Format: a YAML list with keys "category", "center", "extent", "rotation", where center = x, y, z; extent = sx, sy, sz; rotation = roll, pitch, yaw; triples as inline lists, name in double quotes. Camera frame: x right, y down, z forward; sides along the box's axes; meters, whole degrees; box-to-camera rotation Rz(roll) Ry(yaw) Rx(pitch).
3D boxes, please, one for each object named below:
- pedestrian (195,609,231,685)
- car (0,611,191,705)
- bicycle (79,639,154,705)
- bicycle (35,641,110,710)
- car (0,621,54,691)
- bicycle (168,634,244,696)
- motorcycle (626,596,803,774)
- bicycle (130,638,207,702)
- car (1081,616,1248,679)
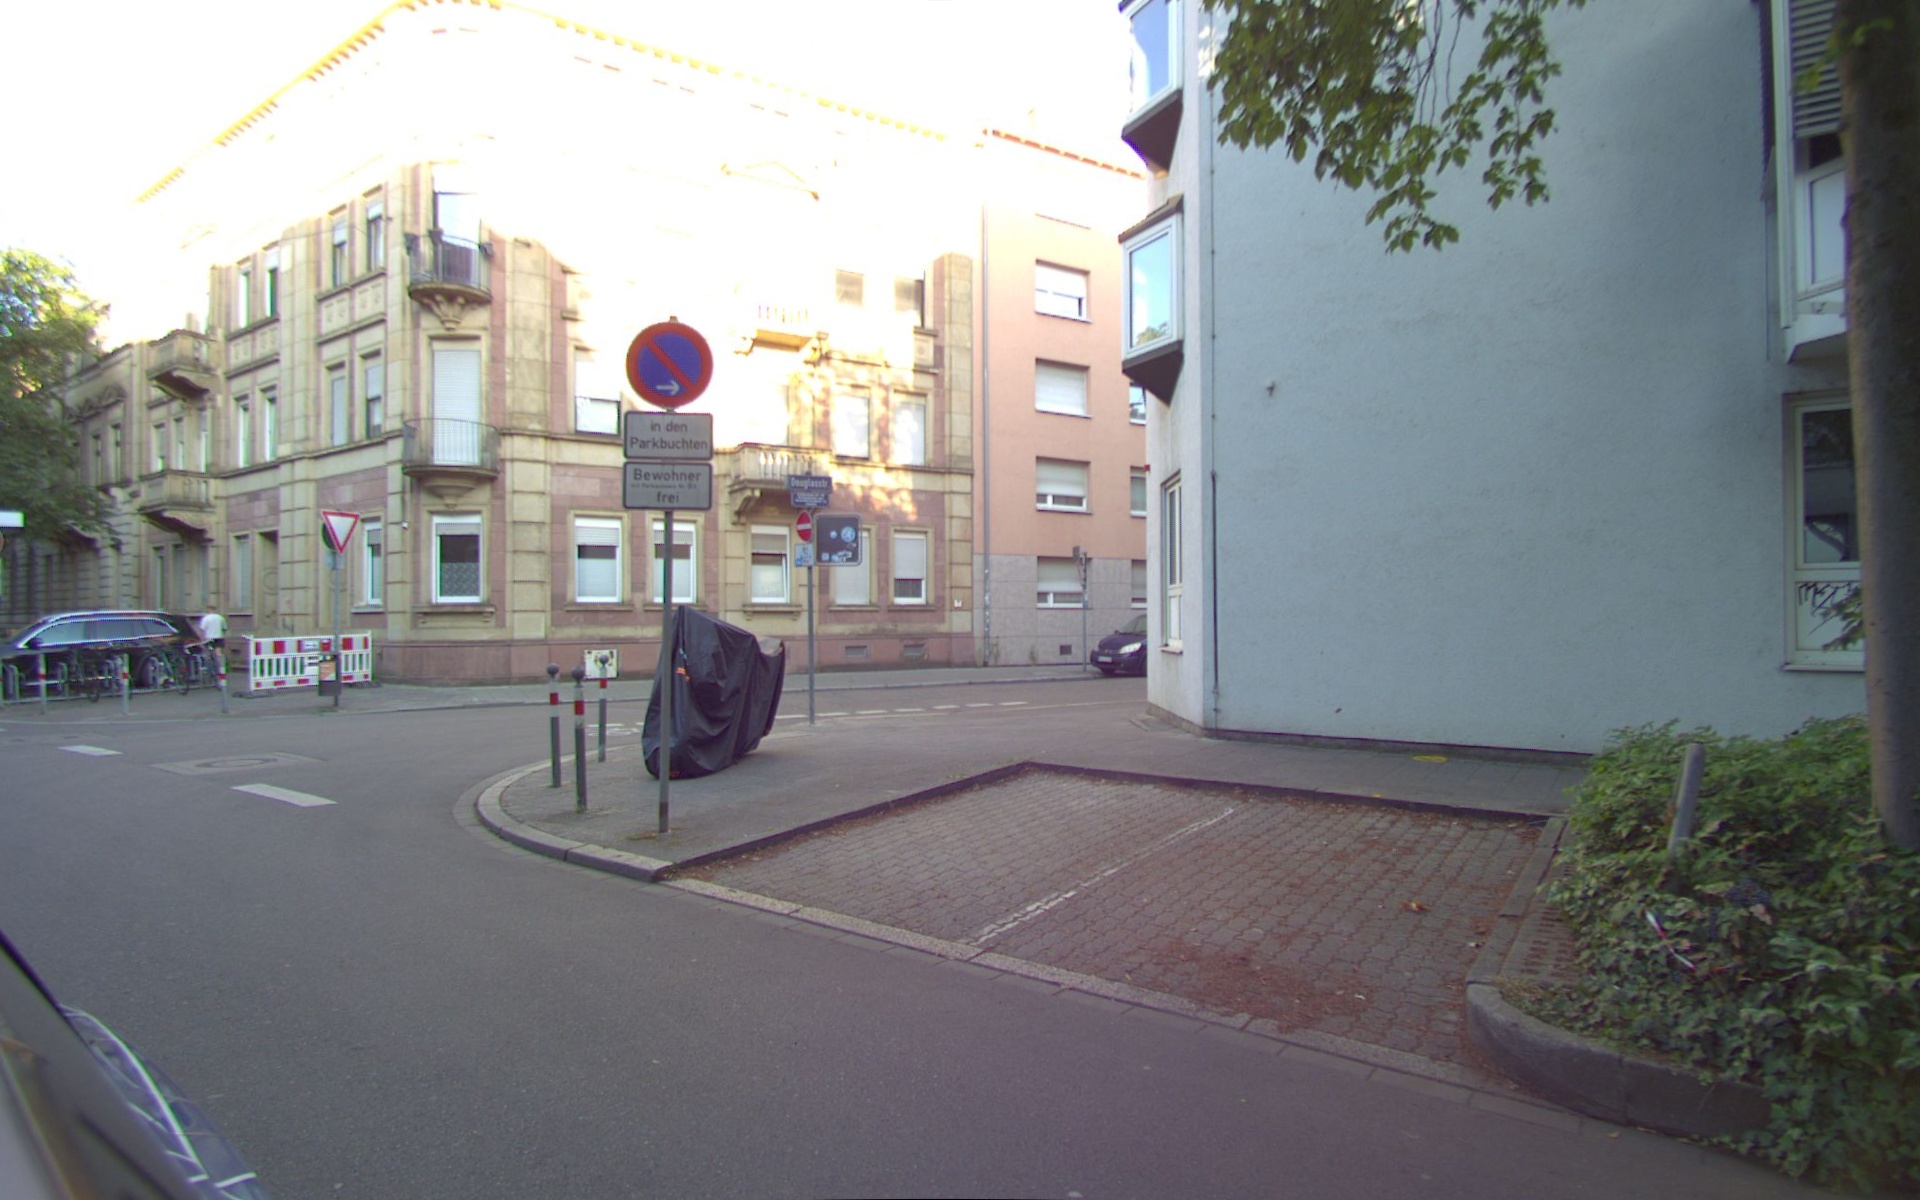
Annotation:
- category: "pedestrian"
  center: [-18.196, 1.129, 24.649]
  extent: [0.651, 1.821, 0.565]
  rotation: [-2, -2, 41]
- category: "car"
  center: [-18.369, 1.125, 20.320]
  extent: [1.740, 1.795, 4.368]
  rotation: [-1, -2, 38]
- category: "bicycle"
  center: [-15.737, 1.313, 18.861]
  extent: [2.035, 1.159, 0.555]
  rotation: [-1, -1, 35]
- category: "bicycle"
  center: [-16.096, 1.336, 18.336]
  extent: [2.035, 1.159, 0.555]
  rotation: [-1, -1, 35]
- category: "car"
  center: [-24.705, 1.365, 24.315]
  extent: [1.741, 1.690, 4.189]
  rotation: [-1, -2, 40]
- category: "bicycle"
  center: [-14.897, 1.256, 19.981]
  extent: [2.034, 1.159, 0.555]
  rotation: [-1, -1, 34]
- category: "motorcycle"
  center: [-2.299, 0.747, 9.838]
  extent: [0.810, 1.516, 2.275]
  rotation: [-1, -1, 11]
- category: "bicycle"
  center: [-15.257, 1.316, 19.483]
  extent: [2.034, 1.159, 0.555]
  rotation: [-1, -1, 34]
- category: "car"
  center: [5.372, 1.189, 26.388]
  extent: [4.296, 1.529, 1.789]
  rotation: [1, -2, -35]
